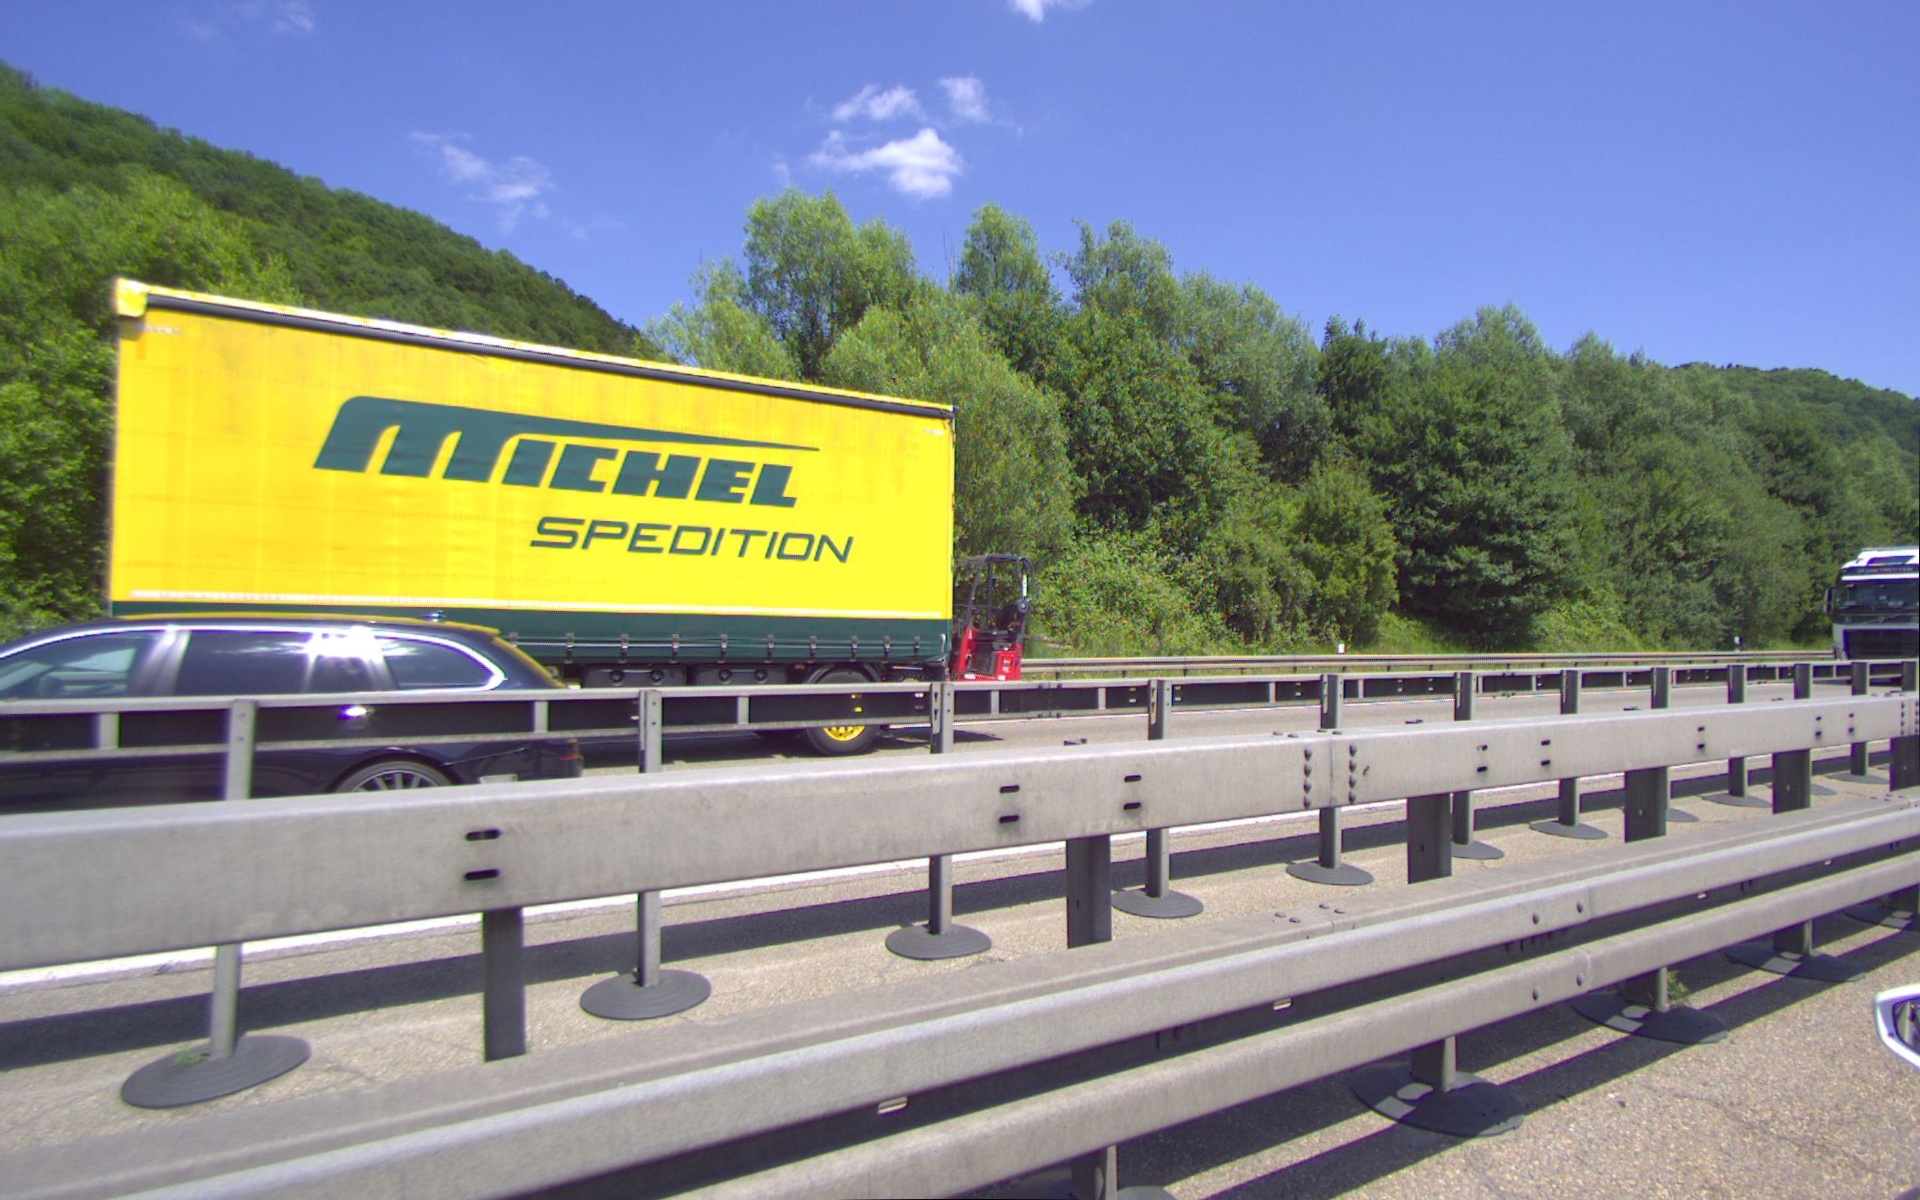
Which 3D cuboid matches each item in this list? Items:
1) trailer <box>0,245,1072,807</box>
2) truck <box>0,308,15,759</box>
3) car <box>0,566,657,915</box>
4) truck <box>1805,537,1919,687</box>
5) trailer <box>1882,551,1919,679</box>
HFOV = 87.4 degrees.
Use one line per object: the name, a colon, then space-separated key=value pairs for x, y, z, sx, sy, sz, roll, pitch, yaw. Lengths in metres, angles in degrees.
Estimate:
trailer: x=-3.768 y=-0.441 z=11.159 sx=10.283 sy=4.202 sz=2.813 roll=2 pitch=0 yaw=-30
truck: x=-12.516 y=-0.698 z=5.999 sx=9.502 sy=4.202 sz=2.813 roll=2 pitch=0 yaw=-30
car: x=-4.360 y=0.671 z=5.792 sx=4.699 sy=1.617 sz=1.835 roll=1 pitch=-1 yaw=-32
truck: x=28.492 y=0.384 z=30.205 sx=5.780 sy=4.156 sz=2.895 roll=2 pitch=0 yaw=-30
trailer: x=35.790 y=0.623 z=34.623 sx=11.134 sy=4.130 sz=2.841 roll=2 pitch=0 yaw=-31
